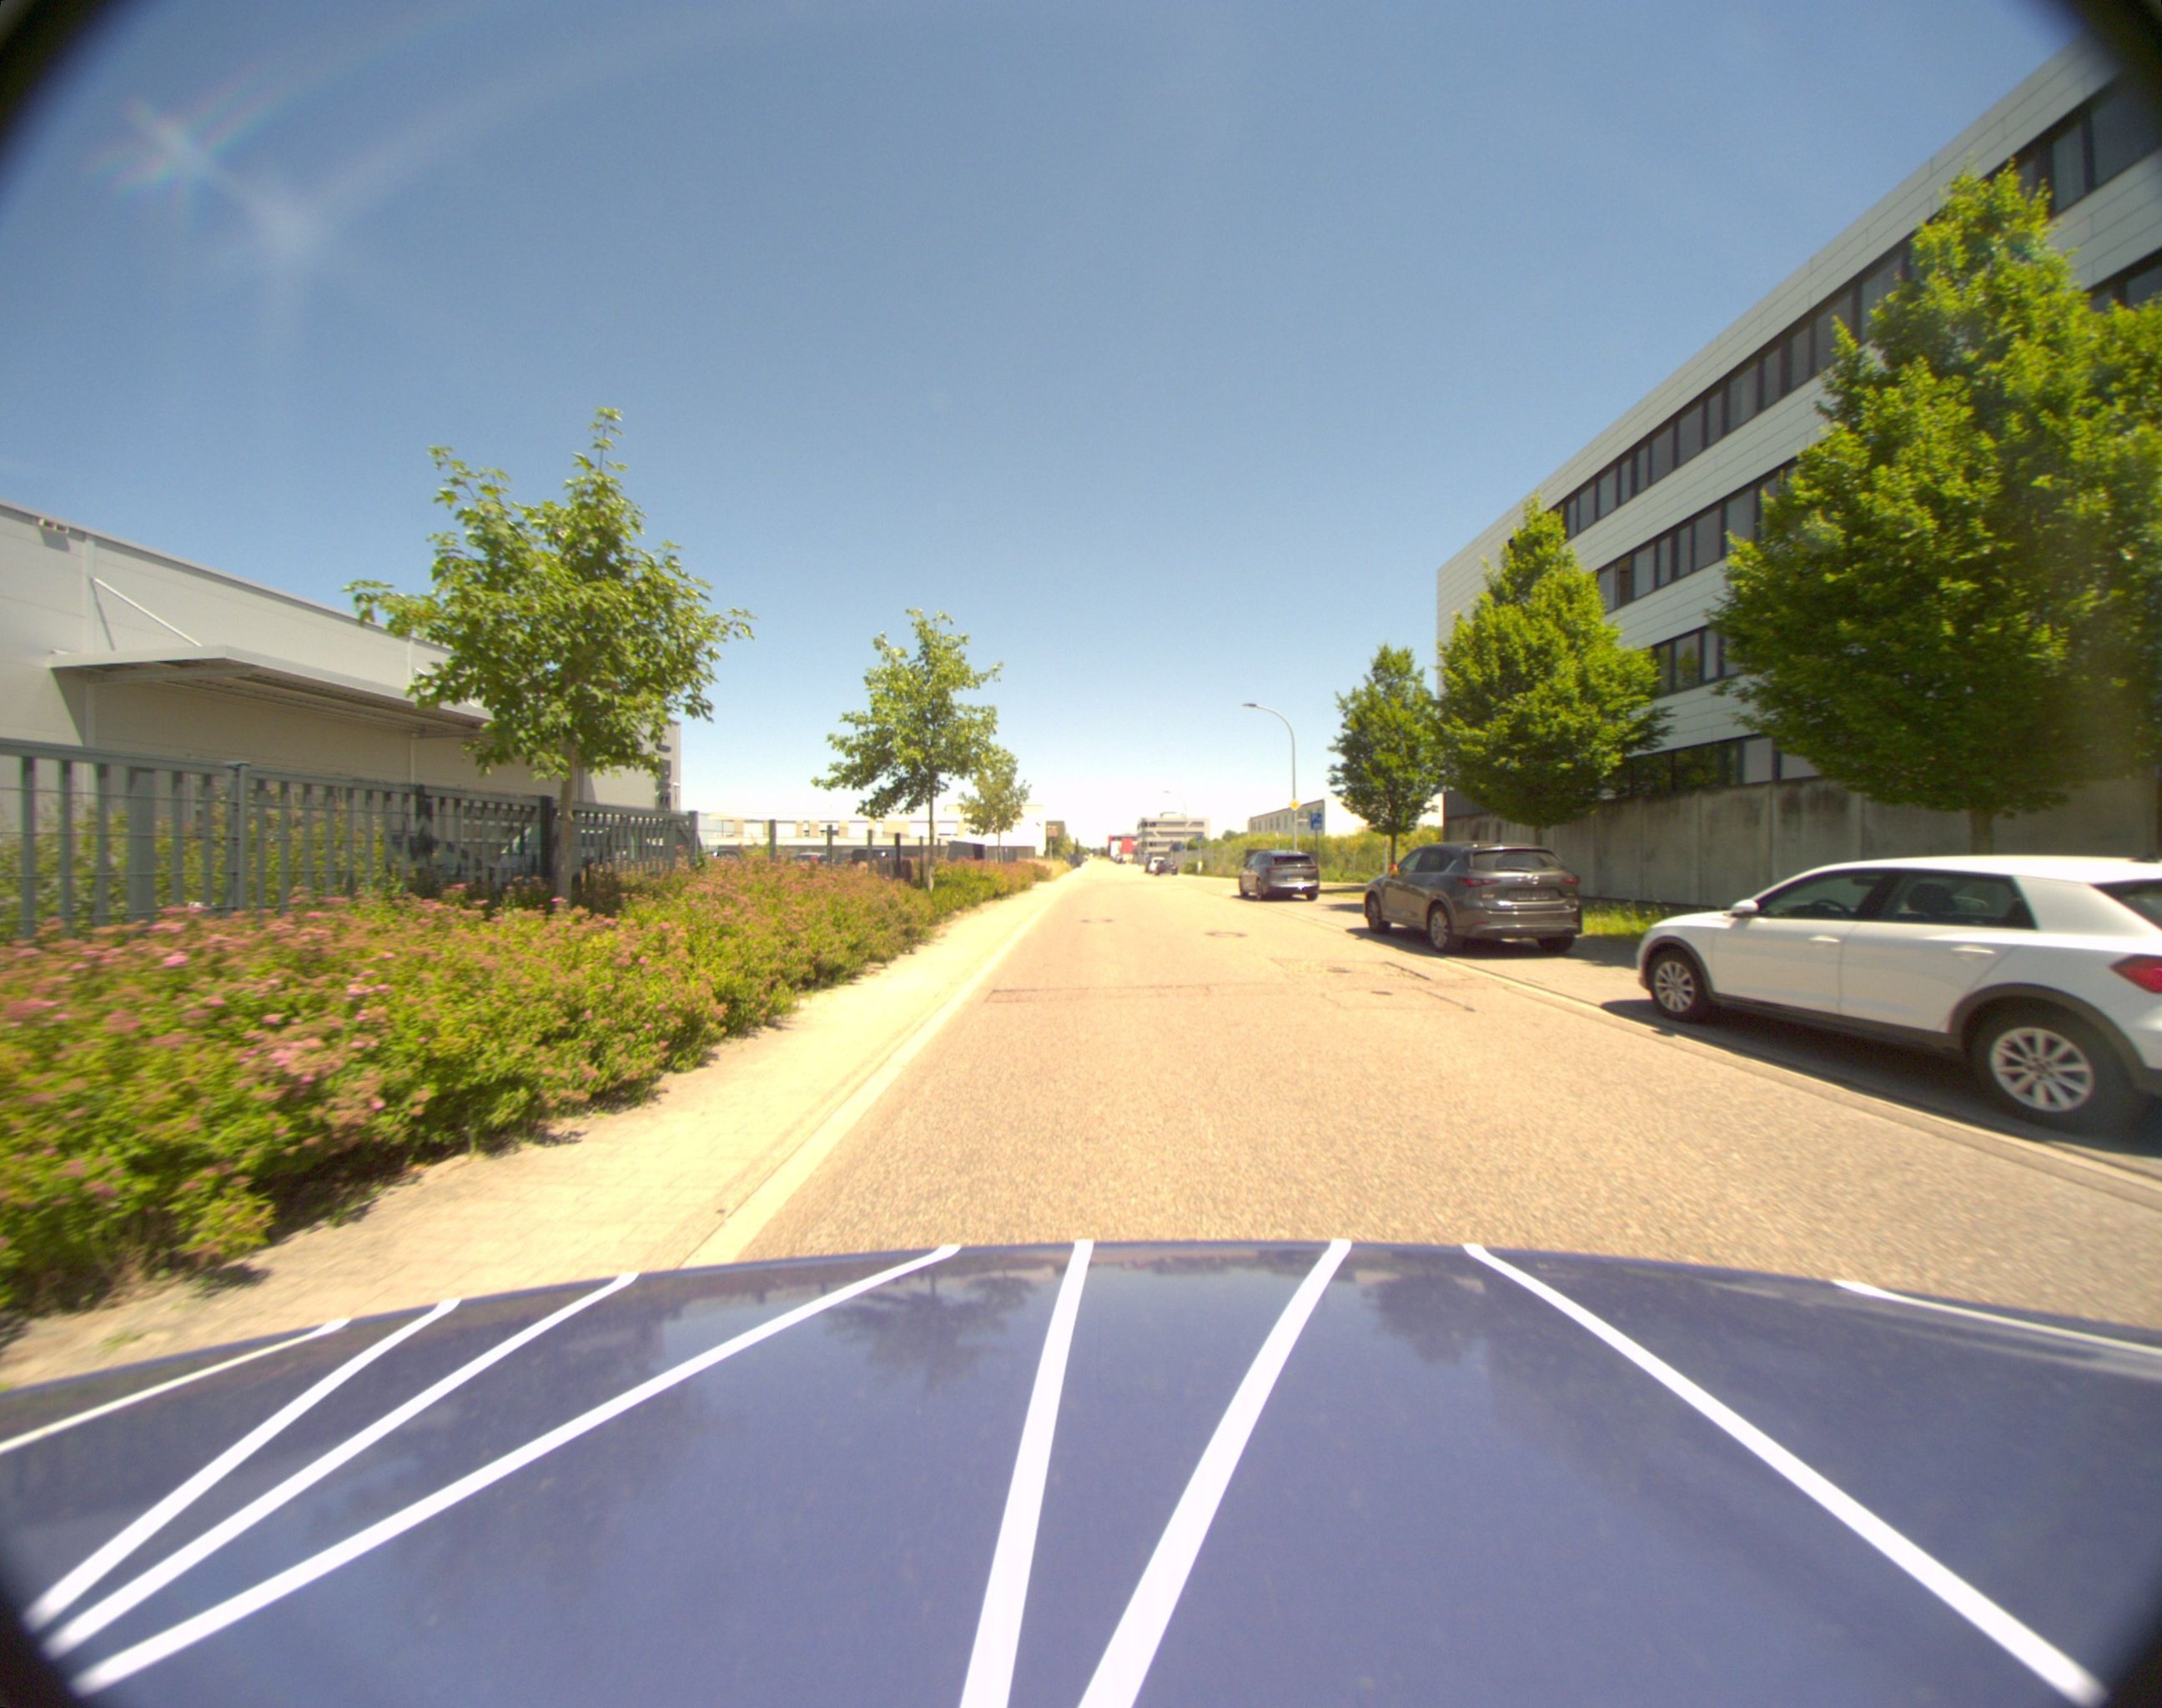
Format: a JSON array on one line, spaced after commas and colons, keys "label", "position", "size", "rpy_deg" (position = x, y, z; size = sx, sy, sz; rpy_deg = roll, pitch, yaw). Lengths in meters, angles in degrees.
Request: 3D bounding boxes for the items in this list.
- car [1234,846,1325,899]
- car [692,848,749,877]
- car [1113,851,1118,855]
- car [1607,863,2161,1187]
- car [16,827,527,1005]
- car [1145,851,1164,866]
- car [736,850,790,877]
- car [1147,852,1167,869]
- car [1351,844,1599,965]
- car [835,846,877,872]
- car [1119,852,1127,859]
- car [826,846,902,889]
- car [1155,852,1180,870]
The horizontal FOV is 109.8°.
[{"label": "car", "position": [6.489, 0.586, 25.343], "size": [1.775, 1.578, 4.481], "rpy_deg": [-1, 0, -1]}, {"label": "car", "position": [-20.790, 0.447, 43.968], "size": [1.518, 1.624, 3.783], "rpy_deg": [0, 1, 0]}, {"label": "car", "position": [11.690, -0.350, 257.759], "size": [1.772, 1.521, 3.778], "rpy_deg": [-2, 1, 2]}, {"label": "car", "position": [6.027, 0.835, 5.363], "size": [1.775, 1.423, 4.201], "rpy_deg": [-1, 1, 1]}, {"label": "car", "position": [-8.474, 0.525, 8.570], "size": [1.546, 1.547, 3.879], "rpy_deg": [0, 1, 1]}, {"label": "car", "position": [7.715, 0.462, 80.365], "size": [1.678, 1.521, 3.909], "rpy_deg": [-1, 1, 1]}, {"label": "car", "position": [-18.246, 0.517, 43.718], "size": [1.518, 1.422, 3.783], "rpy_deg": [0, 1, 0]}, {"label": "car", "position": [7.436, 0.629, 74.329], "size": [1.678, 1.521, 3.757], "rpy_deg": [-1, 1, 1]}, {"label": "car", "position": [6.115, 0.662, 12.511], "size": [1.775, 1.614, 4.582], "rpy_deg": [-1, 1, 1]}, {"label": "car", "position": [-13.069, 0.257, 44.219], "size": [1.461, 1.404, 3.331], "rpy_deg": [0, 1, 0]}, {"label": "car", "position": [9.722, 0.427, 175.614], "size": [1.694, 1.481, 3.660], "rpy_deg": [-2, 1, 2]}, {"label": "car", "position": [-8.379, 0.521, 29.632], "size": [1.814, 1.543, 3.577], "rpy_deg": [1, -1, 1]}, {"label": "car", "position": [7.344, 0.550, 64.752], "size": [1.678, 1.442, 4.069], "rpy_deg": [-1, 1, 1]}]
